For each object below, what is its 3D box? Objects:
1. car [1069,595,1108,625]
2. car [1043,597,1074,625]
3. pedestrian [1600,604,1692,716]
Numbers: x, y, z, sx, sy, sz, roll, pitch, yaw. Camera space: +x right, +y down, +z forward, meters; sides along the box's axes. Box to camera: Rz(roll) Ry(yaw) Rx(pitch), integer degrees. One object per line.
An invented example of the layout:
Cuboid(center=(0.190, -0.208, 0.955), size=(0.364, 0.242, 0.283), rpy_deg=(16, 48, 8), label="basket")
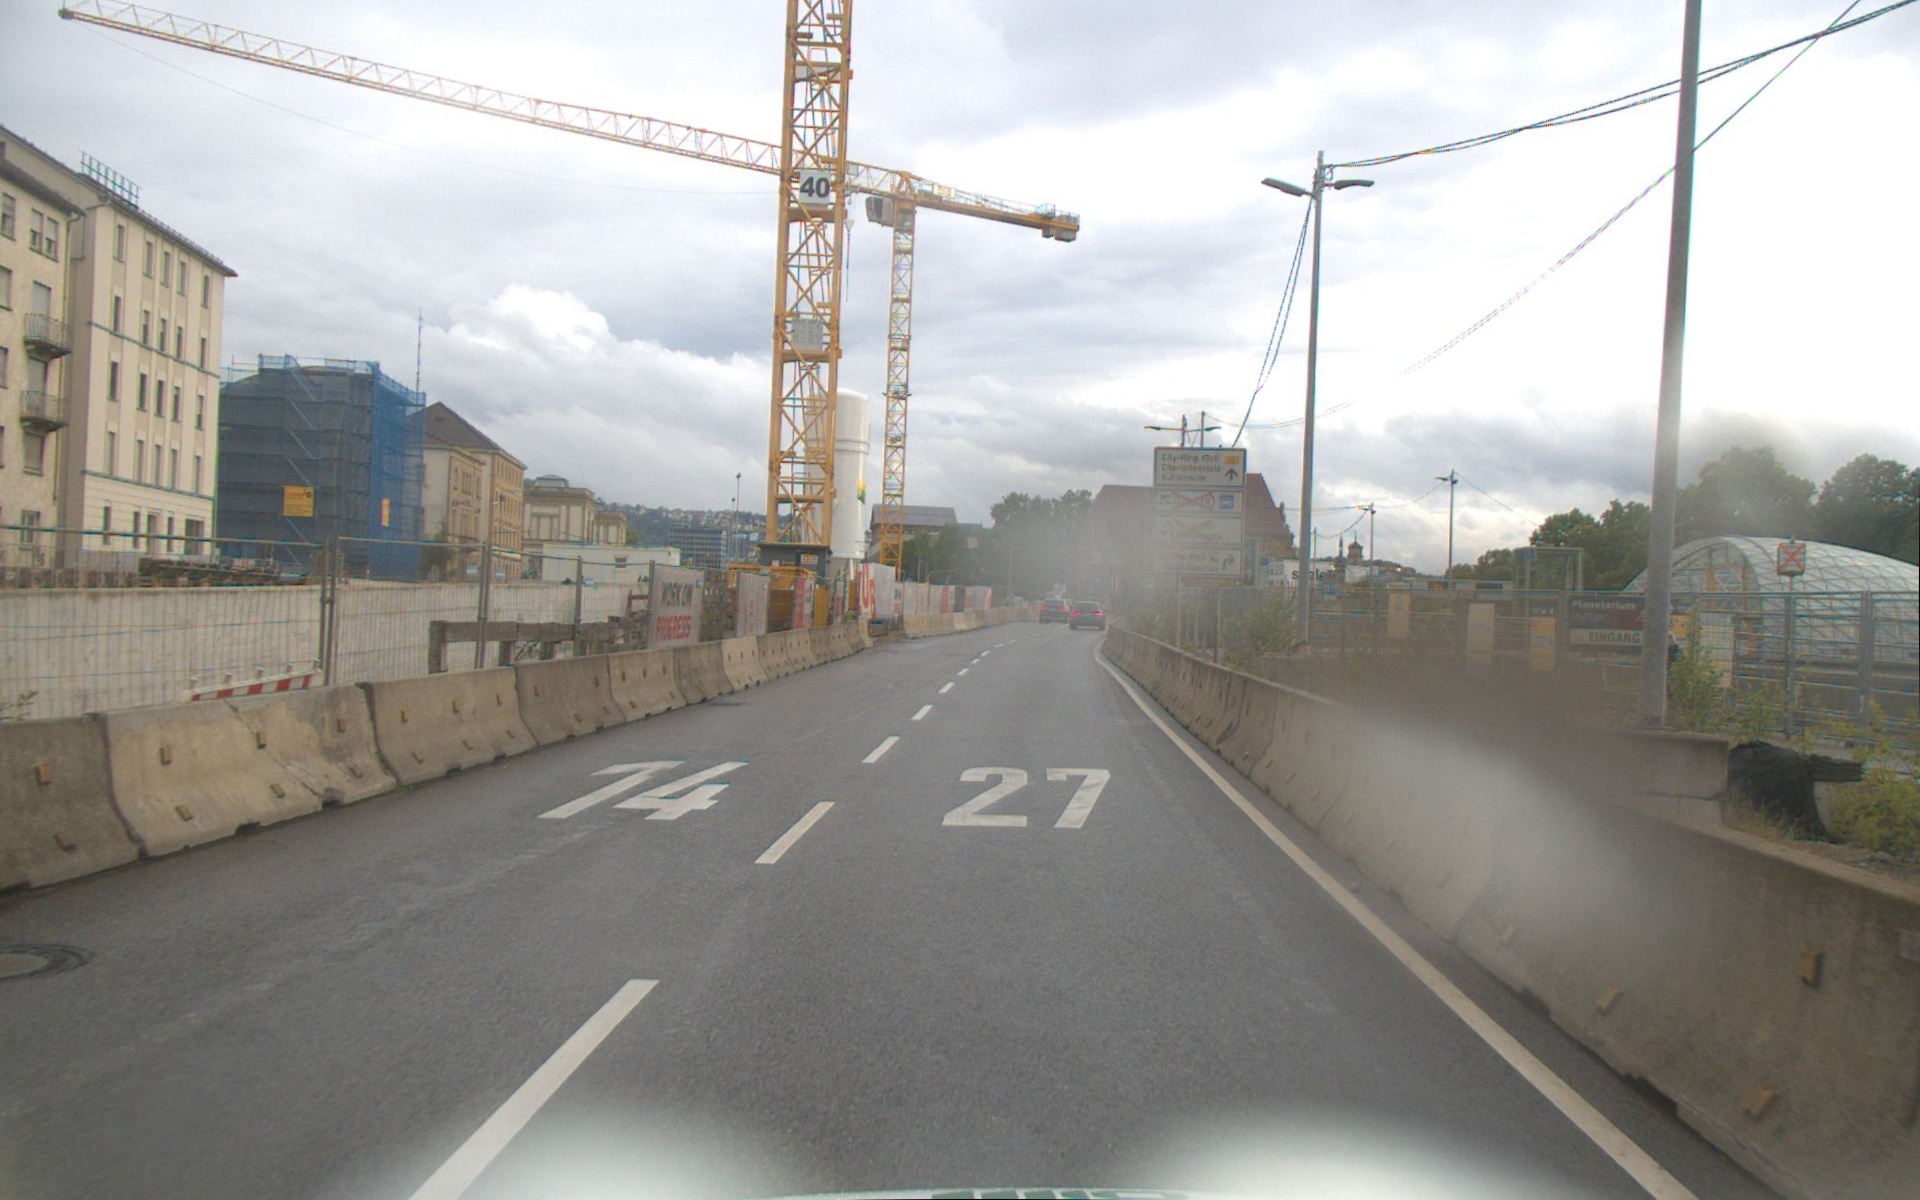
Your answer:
Cuboid(center=(6.742, 0.534, 87.321), size=(1.824, 1.458, 4.657), rpy_deg=(3, 0, 2), label="car")
Cuboid(center=(6.341, 0.676, 106.218), size=(1.823, 1.689, 4.659), rpy_deg=(2, 0, 5), label="car")
Cuboid(center=(10.591, 0.919, 25.542), size=(1.007, 1.687, 0.892), rpy_deg=(1, -1, -27), label="pedestrian")
